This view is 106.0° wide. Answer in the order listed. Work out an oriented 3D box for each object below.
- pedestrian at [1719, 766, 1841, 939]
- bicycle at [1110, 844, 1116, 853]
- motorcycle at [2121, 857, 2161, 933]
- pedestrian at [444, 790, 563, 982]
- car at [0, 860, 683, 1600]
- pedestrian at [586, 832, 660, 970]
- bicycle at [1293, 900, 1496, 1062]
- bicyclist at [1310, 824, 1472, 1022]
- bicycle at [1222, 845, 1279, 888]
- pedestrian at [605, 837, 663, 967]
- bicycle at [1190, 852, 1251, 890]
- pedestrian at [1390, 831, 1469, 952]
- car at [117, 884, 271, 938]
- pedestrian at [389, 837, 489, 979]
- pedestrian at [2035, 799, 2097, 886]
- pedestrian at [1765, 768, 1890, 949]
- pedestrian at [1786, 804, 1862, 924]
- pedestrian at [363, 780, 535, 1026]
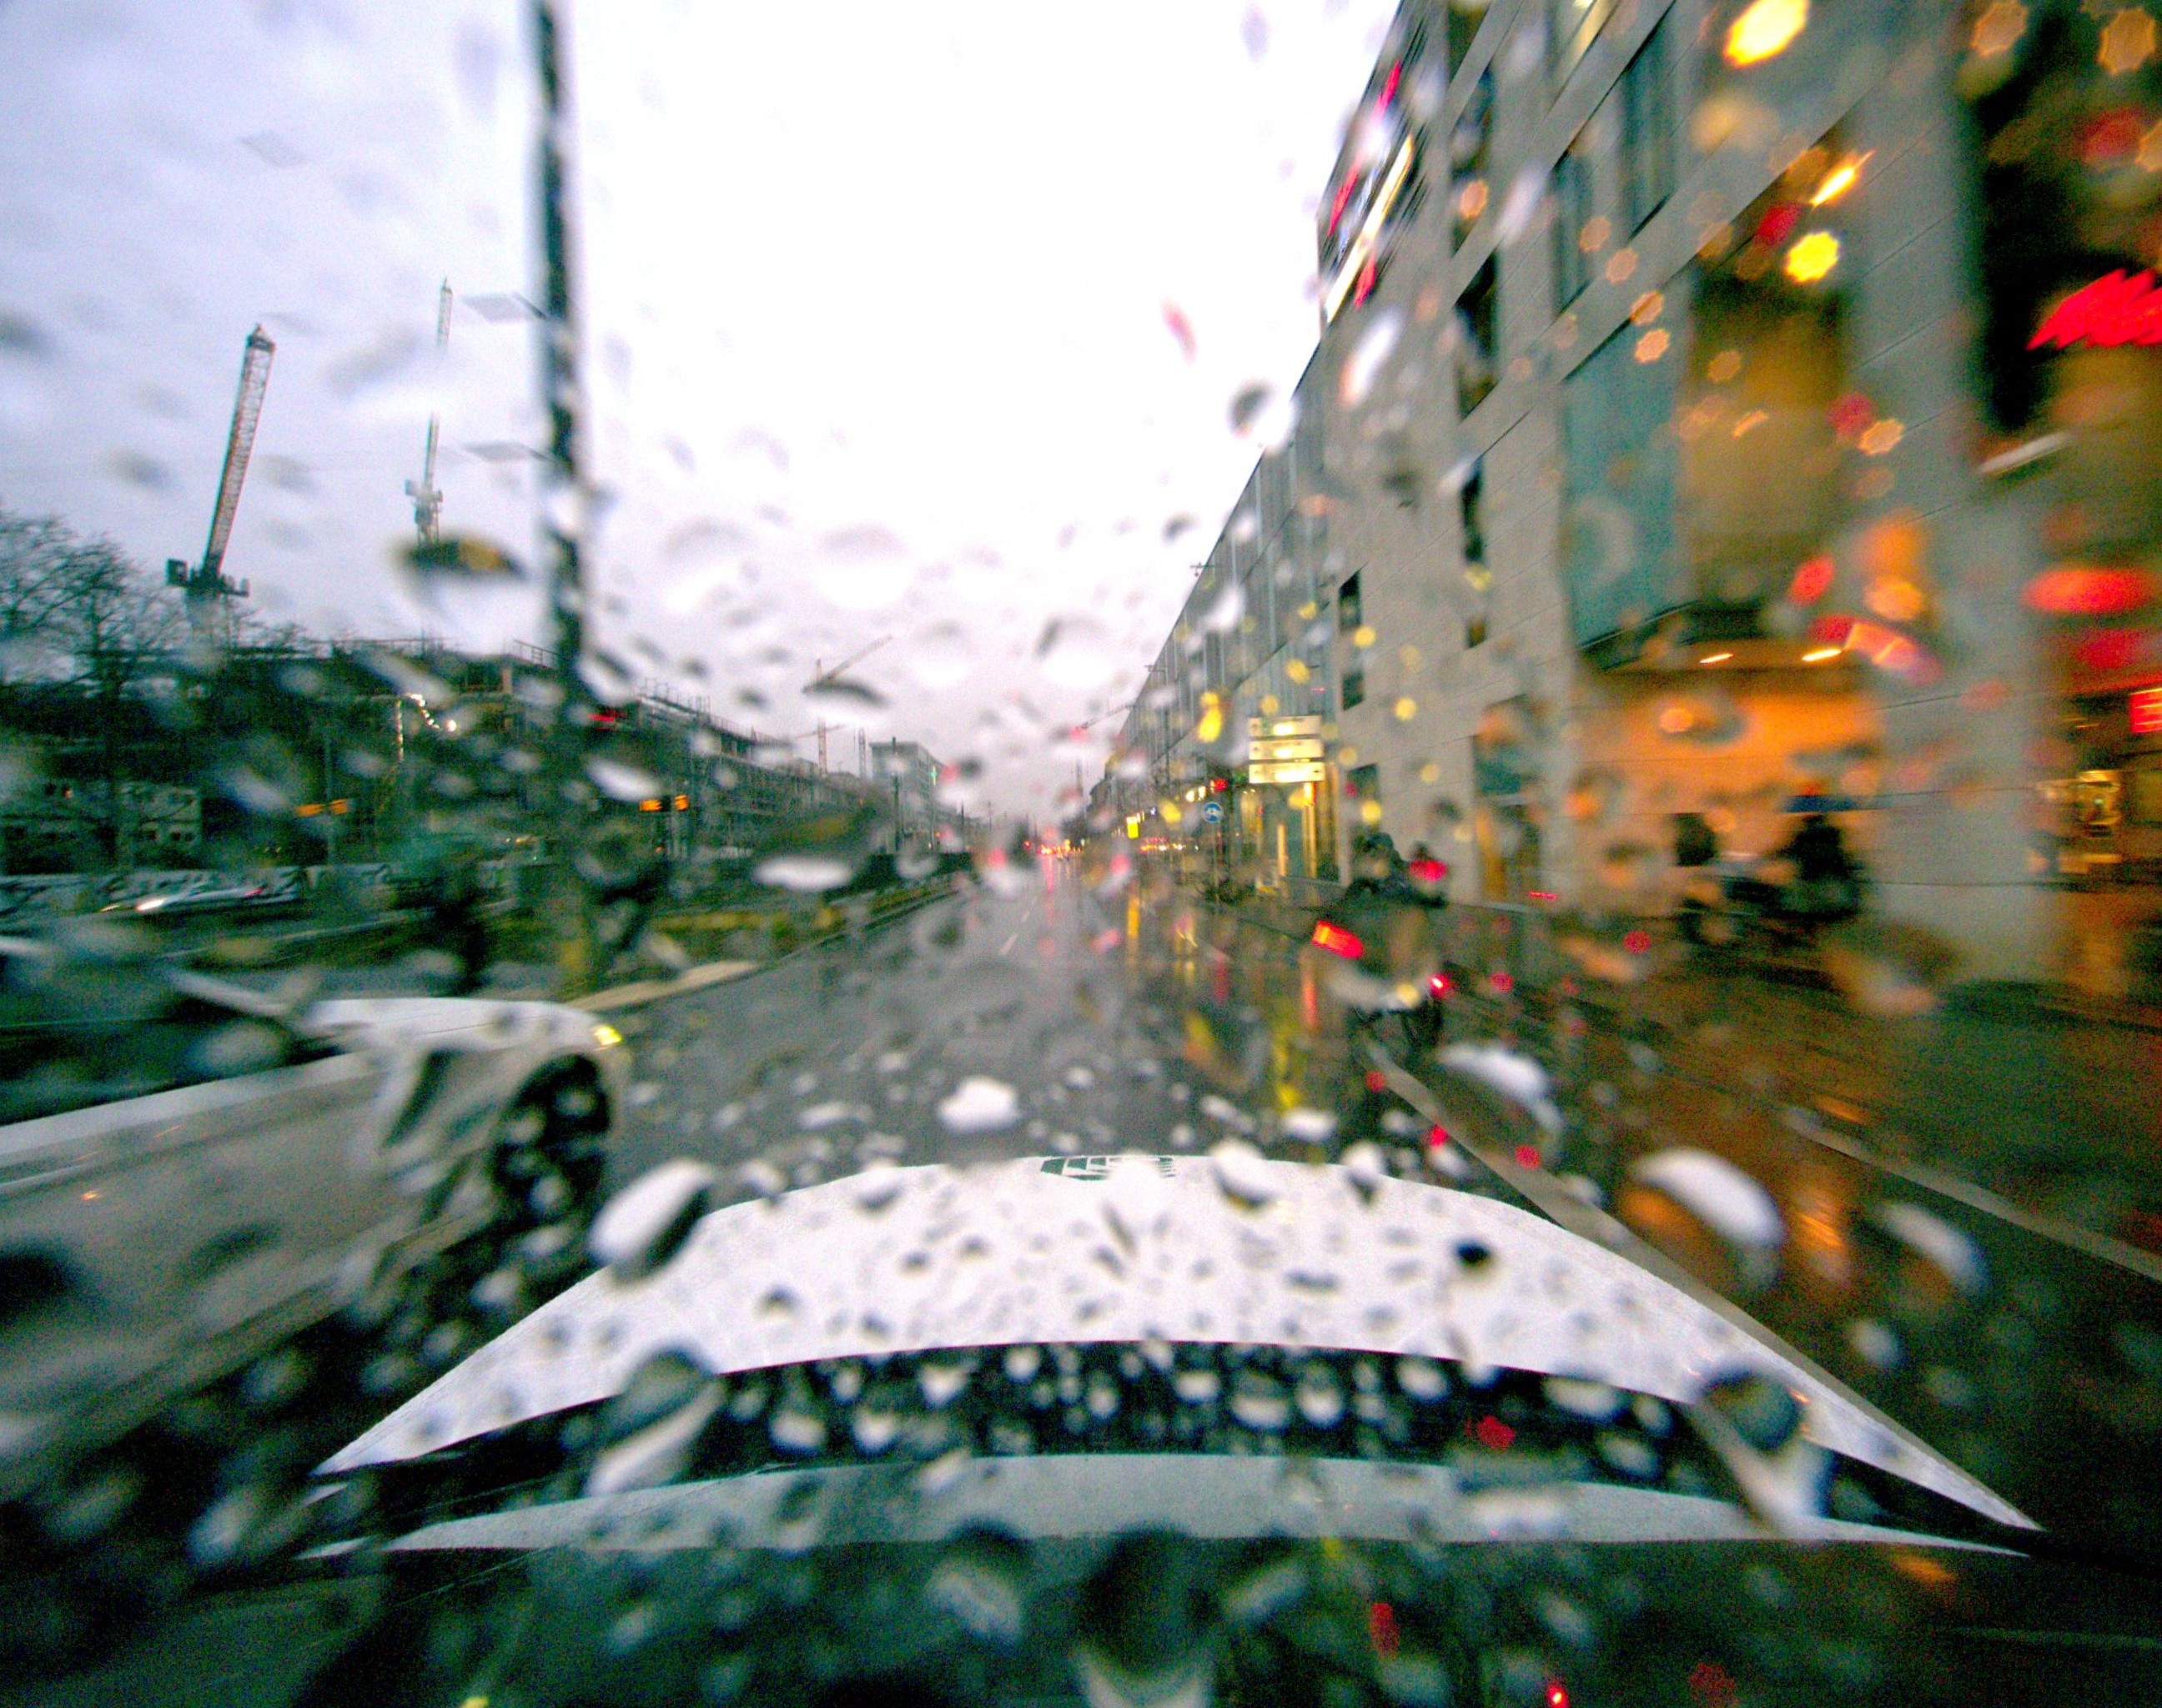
[{"bbox_3d":[9.187,-0.017,10.741,0.953,2.192,0.713,-1,0,10],"label":"pedestrian"},{"bbox_3d":[5.009,-0.861,127.627,0.681,1.222,1.903,-5,0,-3],"label":"bicycle"},{"bbox_3d":[13.762,0.487,9.959,1.627,0.889,0.394,-1,1,-1],"label":"motorcycle"},{"bbox_3d":[-7.049,0.357,10.008,1.056,2.207,0.949,-1,0,-29],"label":"pedestrian"},{"bbox_3d":[-3.129,0.800,1.746,1.844,1.465,4.952,-1,0,4],"label":"car"},{"bbox_3d":[-5.977,0.595,10.631,0.659,1.735,0.609,-1,-1,34],"label":"pedestrian"},{"bbox_3d":[2.473,0.953,6.797,0.939,0.999,2.242,-1,0,4],"label":"bicycle"},{"bbox_3d":[2.450,0.514,6.586,0.939,1.463,1.067,-1,0,3],"label":"bicyclist"},{"bbox_3d":[5.095,0.373,24.563,0.670,1.261,1.540,-2,1,-44],"label":"bicycle"},{"bbox_3d":[-6.155,0.631,11.225,0.655,1.717,0.743,-1,0,-29],"label":"pedestrian"},{"bbox_3d":[4.689,0.568,27.448,1.898,1.175,0.666,-3,0,-3],"label":"bicycle"},{"bbox_3d":[5.128,0.528,12.009,0.706,1.694,0.721,-3,1,-13],"label":"pedestrian"},{"bbox_3d":[-36.952,2.303,34.125,1.870,1.873,4.377,-1,0,-5],"label":"car"},{"bbox_3d":[-8.184,0.656,10.429,0.863,1.714,0.757,-1,0,-29],"label":"pedestrian"},{"bbox_3d":[19.270,-0.230,15.939,0.617,1.673,0.619,-1,1,-22],"label":"pedestrian"},{"bbox_3d":[9.238,0.064,10.109,0.958,2.161,0.582,-1,0,10],"label":"pedestrian"},{"bbox_3d":[11.453,0.145,12.566,0.613,1.805,0.623,-1,1,-1],"label":"pedestrian"},{"bbox_3d":[-5.907,0.417,7.697,0.904,2.145,1.014,-1,0,-13],"label":"pedestrian"}]
